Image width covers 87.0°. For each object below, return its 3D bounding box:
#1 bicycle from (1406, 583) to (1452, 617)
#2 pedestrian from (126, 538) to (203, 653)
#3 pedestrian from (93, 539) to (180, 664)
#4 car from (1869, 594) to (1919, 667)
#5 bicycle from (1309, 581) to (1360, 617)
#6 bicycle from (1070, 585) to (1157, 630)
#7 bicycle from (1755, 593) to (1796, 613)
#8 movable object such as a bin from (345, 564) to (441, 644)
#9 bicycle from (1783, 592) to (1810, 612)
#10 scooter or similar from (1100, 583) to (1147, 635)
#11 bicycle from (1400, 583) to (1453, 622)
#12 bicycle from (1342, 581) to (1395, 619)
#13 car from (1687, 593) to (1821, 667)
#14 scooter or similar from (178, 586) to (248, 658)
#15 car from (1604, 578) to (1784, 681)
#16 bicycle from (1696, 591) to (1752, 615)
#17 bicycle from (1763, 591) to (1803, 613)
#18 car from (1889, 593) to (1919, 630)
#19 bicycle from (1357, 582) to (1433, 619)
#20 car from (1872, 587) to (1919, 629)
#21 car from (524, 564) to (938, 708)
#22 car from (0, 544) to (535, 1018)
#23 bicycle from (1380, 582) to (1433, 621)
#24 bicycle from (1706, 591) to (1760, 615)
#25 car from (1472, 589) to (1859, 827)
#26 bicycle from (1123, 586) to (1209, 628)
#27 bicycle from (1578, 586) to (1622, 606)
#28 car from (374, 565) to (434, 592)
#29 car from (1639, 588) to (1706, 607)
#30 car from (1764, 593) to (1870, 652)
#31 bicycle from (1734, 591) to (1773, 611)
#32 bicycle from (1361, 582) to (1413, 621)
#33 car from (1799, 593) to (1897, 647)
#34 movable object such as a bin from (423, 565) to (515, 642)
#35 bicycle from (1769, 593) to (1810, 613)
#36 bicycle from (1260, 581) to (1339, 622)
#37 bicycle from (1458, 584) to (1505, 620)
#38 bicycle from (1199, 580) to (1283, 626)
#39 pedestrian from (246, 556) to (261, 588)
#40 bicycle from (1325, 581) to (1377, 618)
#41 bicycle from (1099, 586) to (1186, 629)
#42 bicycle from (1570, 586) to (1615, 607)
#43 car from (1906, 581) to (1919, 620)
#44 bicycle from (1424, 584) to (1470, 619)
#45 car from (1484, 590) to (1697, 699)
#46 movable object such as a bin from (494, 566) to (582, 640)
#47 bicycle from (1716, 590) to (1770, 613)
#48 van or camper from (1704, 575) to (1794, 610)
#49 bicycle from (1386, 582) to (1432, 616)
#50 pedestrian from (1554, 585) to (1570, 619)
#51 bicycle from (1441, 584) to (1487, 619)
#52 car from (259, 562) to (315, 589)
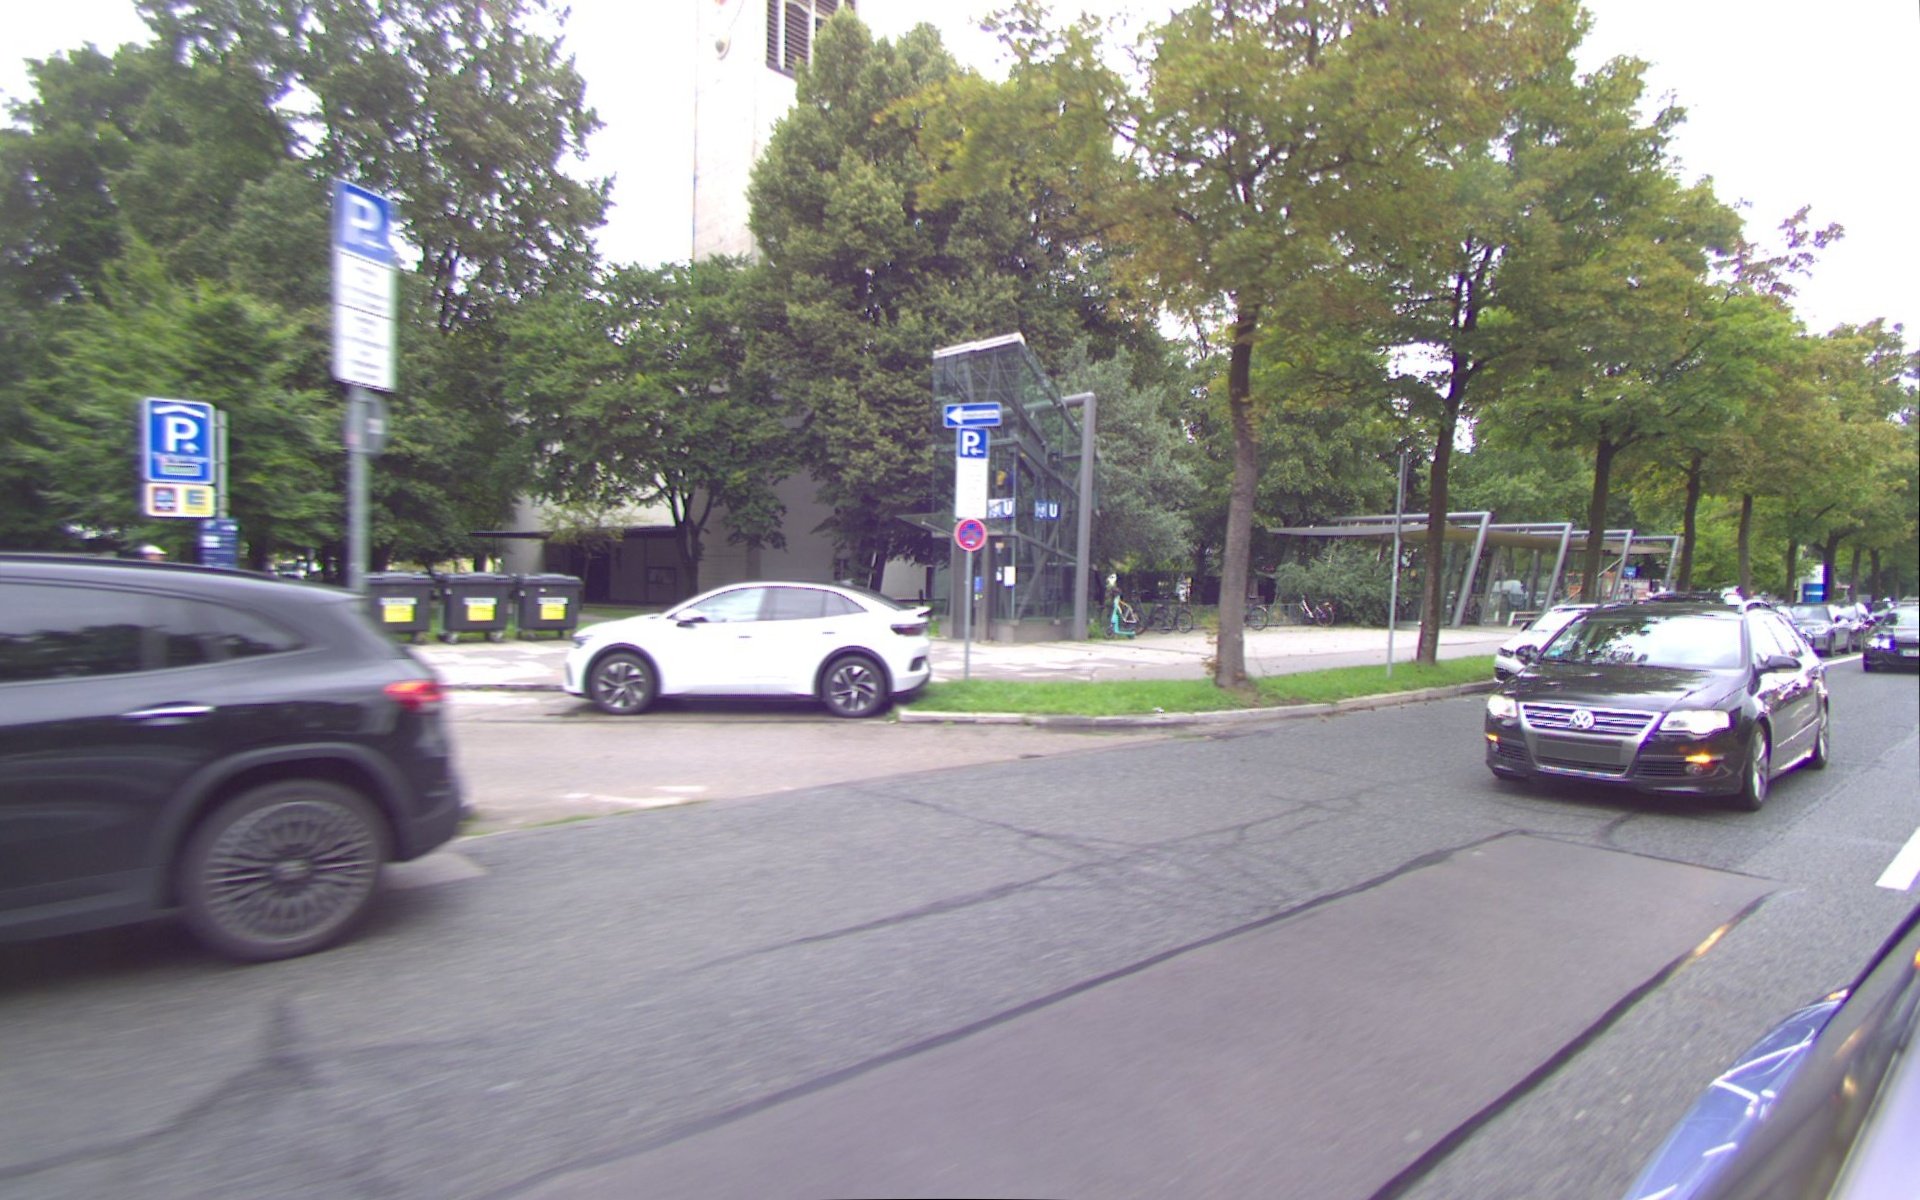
[{"bbox_3d":[18.367,-0.007,39.642,2.506,1.296,0.646,0,1,-41],"label":"bicycle"},{"bbox_3d":[-12.651,-0.090,16.095,0.923,1.742,0.830,0,3,-40],"label":"pedestrian"},{"bbox_3d":[-12.004,0.009,14.761,0.970,1.742,0.540,0,3,-41],"label":"pedestrian"},{"bbox_3d":[21.177,0.627,21.760,4.589,1.447,1.818,0,2,-41],"label":"car"},{"bbox_3d":[13.709,-0.048,37.020,2.506,1.296,0.605,0,1,-41],"label":"bicycle"},{"bbox_3d":[4.103,0.180,27.290,0.636,1.102,2.547,0,2,-40],"label":"bicycle"},{"bbox_3d":[49.895,0.175,61.920,0.556,1.156,1.813,0,3,-35],"label":"bicycle"},{"bbox_3d":[-10.592,0.047,18.895,1.292,1.427,1.338,0,1,-42],"label":"movable object such as a bin"},{"bbox_3d":[54.300,0.123,65.717,1.962,1.213,0.864,0,3,-37],"label":"bicycle"},{"bbox_3d":[3.993,0.208,24.638,1.214,1.248,0.421,0,1,-38],"label":"scooter or similar"},{"bbox_3d":[15.885,0.074,34.427,2.506,1.296,0.646,0,1,-41],"label":"bicycle"},{"bbox_3d":[14.553,-0.009,36.010,2.506,1.296,0.646,0,1,-41],"label":"bicycle"},{"bbox_3d":[17.742,0.591,22.544,4.230,1.457,1.636,0,2,-42],"label":"car"},{"bbox_3d":[-11.337,0.315,15.352,0.818,1.031,0.501,0,3,-41],"label":"scooter or similar"},{"bbox_3d":[13.875,0.468,19.032,4.516,1.696,1.790,0,1,-42],"label":"car"},{"bbox_3d":[42.102,0.169,55.820,0.520,1.171,2.344,1,3,-40],"label":"bicycle"},{"bbox_3d":[52.053,0.122,64.035,1.936,1.227,0.559,4,3,39],"label":"bicycle"},{"bbox_3d":[41.070,0.479,43.276,4.429,1.527,1.703,0,-1,-44],"label":"car"},{"bbox_3d":[16.317,0.010,38.011,2.534,1.296,0.486,2,1,35],"label":"bicycle"},{"bbox_3d":[37.254,0.275,39.829,4.326,1.553,1.722,0,2,-44],"label":"car"},{"bbox_3d":[-2.691,0.413,12.725,4.751,1.645,1.975,0,1,-2],"label":"car"},{"bbox_3d":[-4.142,0.592,3.798,4.376,1.609,1.764,0,2,-42],"label":"car"},{"bbox_3d":[15.444,0.052,34.998,2.506,1.296,0.646,0,1,-41],"label":"bicycle"},{"bbox_3d":[42.932,0.169,56.227,2.338,1.171,0.521,5,3,42],"label":"bicycle"},{"bbox_3d":[6.176,0.667,8.617,4.592,1.493,1.750,0,1,-43],"label":"car"},{"bbox_3d":[5.812,0.178,28.752,0.636,1.102,2.547,0,2,-40],"label":"bicycle"},{"bbox_3d":[42.048,-0.250,66.554,0.520,1.171,2.344,1,3,-40],"label":"bicycle"},{"bbox_3d":[-34.838,-1.336,63.365,4.441,1.613,1.969,2,2,43],"label":"car"},{"bbox_3d":[59.677,-0.232,84.848,1.856,1.516,4.305,0,2,-43],"label":"car"},{"bbox_3d":[23.766,0.562,28.017,4.007,1.471,1.637,0,1,-41],"label":"car"},{"bbox_3d":[50.328,0.069,64.231,0.556,1.156,1.813,0,3,-35],"label":"bicycle"},{"bbox_3d":[14.993,0.047,35.503,2.506,1.296,0.646,0,1,-41],"label":"bicycle"},{"bbox_3d":[27.398,0.559,31.183,4.149,1.527,1.721,0,1,-41],"label":"car"},{"bbox_3d":[-9.605,0.042,19.783,1.292,1.427,1.338,0,1,-42],"label":"movable object such as a bin"},{"bbox_3d":[50.960,0.185,62.211,0.556,1.156,1.814,1,3,-31],"label":"bicycle"},{"bbox_3d":[11.384,0.033,33.983,0.636,1.296,2.547,0,2,-40],"label":"bicycle"},{"bbox_3d":[19.634,0.053,38.082,2.506,1.296,0.646,0,1,-41],"label":"bicycle"},{"bbox_3d":[8.556,0.066,30.959,0.636,1.296,2.547,0,2,-40],"label":"bicycle"},{"bbox_3d":[-40.979,-1.633,58.716,0.610,1.817,0.595,2,1,43],"label":"pedestrian"},{"bbox_3d":[14.139,-0.022,36.537,2.506,1.296,0.646,0,1,-41],"label":"bicycle"},{"bbox_3d":[5.022,0.180,28.058,0.636,1.102,2.547,0,2,-40],"label":"bicycle"},{"bbox_3d":[40.795,-0.246,65.326,0.520,1.171,2.344,1,3,-40],"label":"bicycle"},{"bbox_3d":[45.197,0.033,46.687,4.819,1.746,1.750,0,0,-41],"label":"car"},{"bbox_3d":[18.851,0.038,39.161,2.506,1.296,0.646,0,1,-41],"label":"bicycle"},{"bbox_3d":[10.010,0.595,15.916,4.405,1.452,1.656,0,2,-42],"label":"car"},{"bbox_3d":[-8.616,0.039,20.663,1.292,1.427,1.338,0,1,-42],"label":"movable object such as a bin"},{"bbox_3d":[44.758,0.079,57.866,0.520,1.171,2.344,1,3,-40],"label":"bicycle"},{"bbox_3d":[53.976,-0.504,69.252,6.069,2.325,2.153,0,1,-23],"label":"van or camper"},{"bbox_3d":[17.866,-0.041,40.225,2.506,1.296,0.646,0,1,-41],"label":"bicycle"},{"bbox_3d":[27.707,0.082,46.575,0.575,1.532,0.687,1,1,31],"label":"pedestrian"},{"bbox_3d":[19.265,0.046,38.651,2.506,1.296,0.646,0,1,-41],"label":"bicycle"},{"bbox_3d":[-42.824,-1.587,64.353,4.441,1.614,1.969,2,1,43],"label":"car"}]
